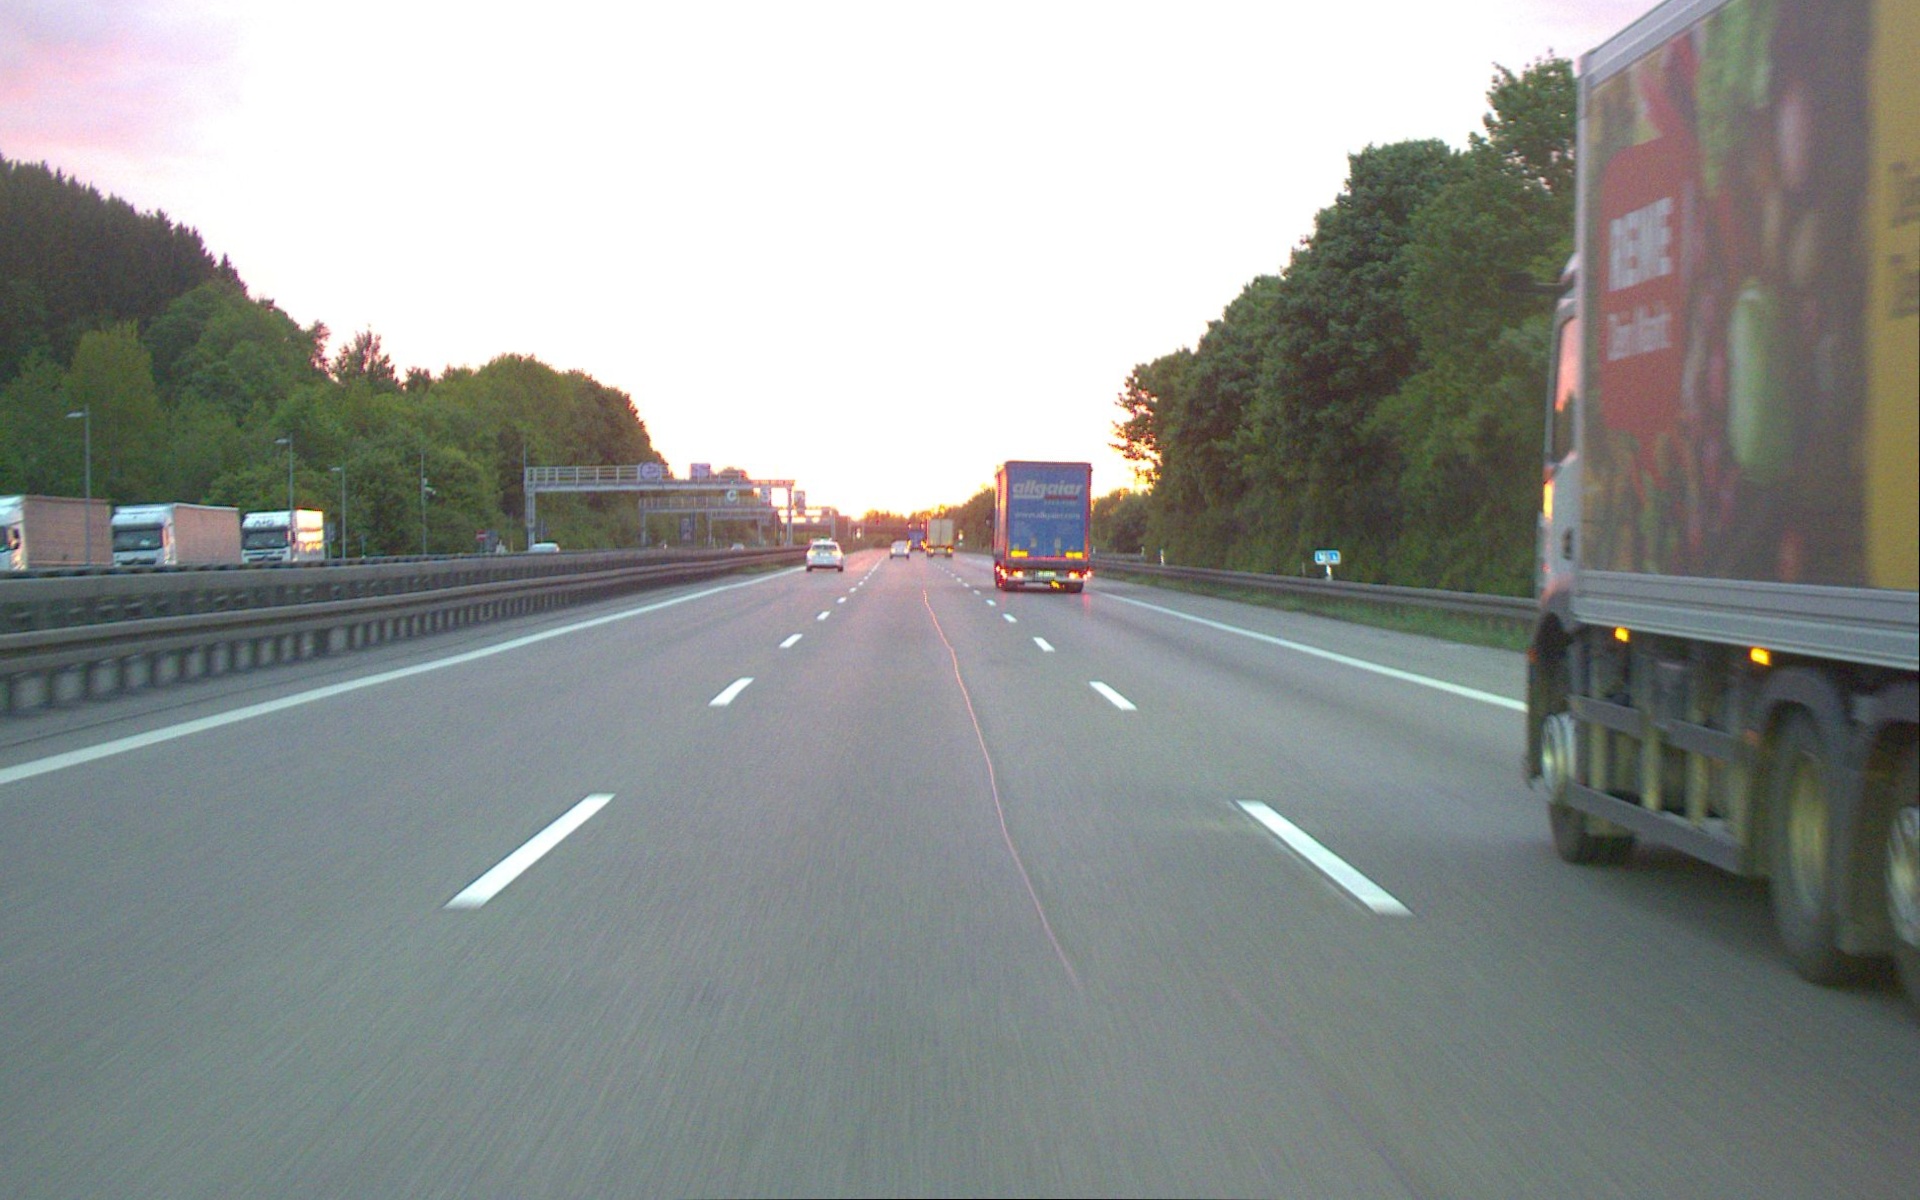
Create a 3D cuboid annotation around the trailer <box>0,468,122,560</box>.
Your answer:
[{"bbox_3d":[-35.958,-3.390,134.807,2.873,3.413,13.571,0,2,0],"label":"trailer"}]

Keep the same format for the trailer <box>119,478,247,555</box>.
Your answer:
[{"bbox_3d":[-35.997,-3.906,159.877,2.873,3.413,13.852,0,2,0],"label":"trailer"}]

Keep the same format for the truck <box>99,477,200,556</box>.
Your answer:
[{"bbox_3d":[-35.990,-3.722,152.819,2.873,3.413,6.727,0,1,0],"label":"truck"}]

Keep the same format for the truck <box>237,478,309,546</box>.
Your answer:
[{"bbox_3d":[-35.337,-4.532,177.075,2.873,3.413,6.728,0,1,-5],"label":"truck"}]

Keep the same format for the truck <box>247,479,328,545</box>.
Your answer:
[{"bbox_3d":[-35.953,-4.717,184.172,2.873,3.413,13.793,0,2,-5],"label":"truck"}]

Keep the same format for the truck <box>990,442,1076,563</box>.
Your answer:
[{"bbox_3d":[2.462,-3.305,117.668,2.736,3.983,5.850,1,1,0],"label":"truck"}]

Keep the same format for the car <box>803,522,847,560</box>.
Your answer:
[{"bbox_3d":[-6.549,-2.881,166.877,2.013,1.743,3.903,-3,1,-1],"label":"car"}]

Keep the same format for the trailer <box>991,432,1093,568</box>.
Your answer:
[{"bbox_3d":[2.533,-3.164,110.991,2.771,4.072,13.740,1,1,-1],"label":"trailer"}]

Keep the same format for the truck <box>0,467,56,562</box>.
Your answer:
[{"bbox_3d":[-35.956,-3.196,127.860,2.873,3.413,6.727,0,1,0],"label":"truck"}]

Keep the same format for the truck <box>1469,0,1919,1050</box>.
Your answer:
[{"bbox_3d":[4.060,-0.668,13.162,2.616,3.814,10.387,0,1,0],"label":"truck"}]
